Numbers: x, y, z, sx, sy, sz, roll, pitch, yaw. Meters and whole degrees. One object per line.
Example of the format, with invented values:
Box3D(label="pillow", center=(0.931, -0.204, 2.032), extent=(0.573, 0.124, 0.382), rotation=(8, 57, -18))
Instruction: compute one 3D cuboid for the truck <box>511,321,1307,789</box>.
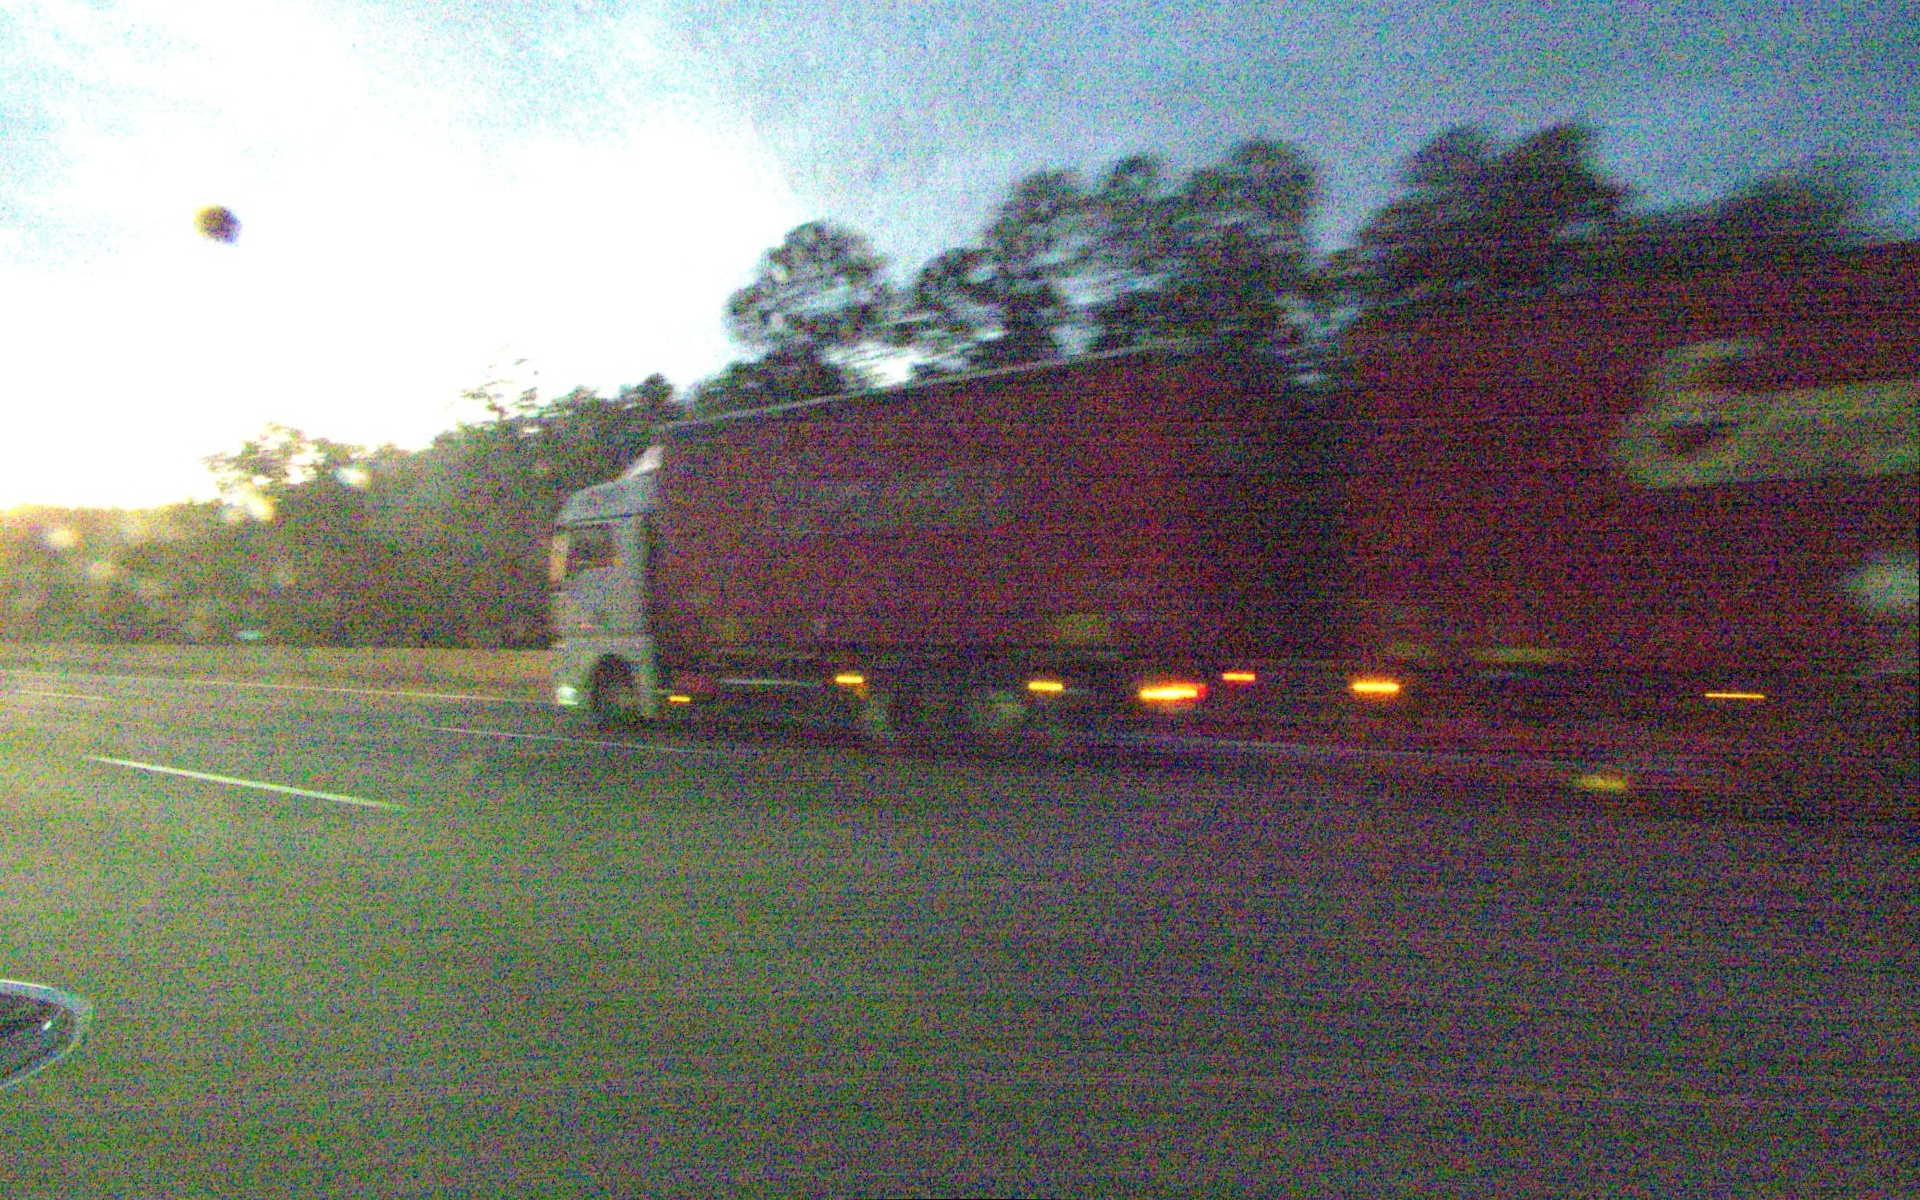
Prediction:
Box3D(label="truck", center=(-1.331, -0.308, 12.997), extent=(10.678, 4.154, 2.879), rotation=(-1, -1, 33))

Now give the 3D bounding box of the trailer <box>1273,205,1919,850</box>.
Box3D(label="trailer", center=(7.776, -0.459, 7.155), extent=(10.210, 4.154, 2.901), rotation=(-1, -1, 33))
